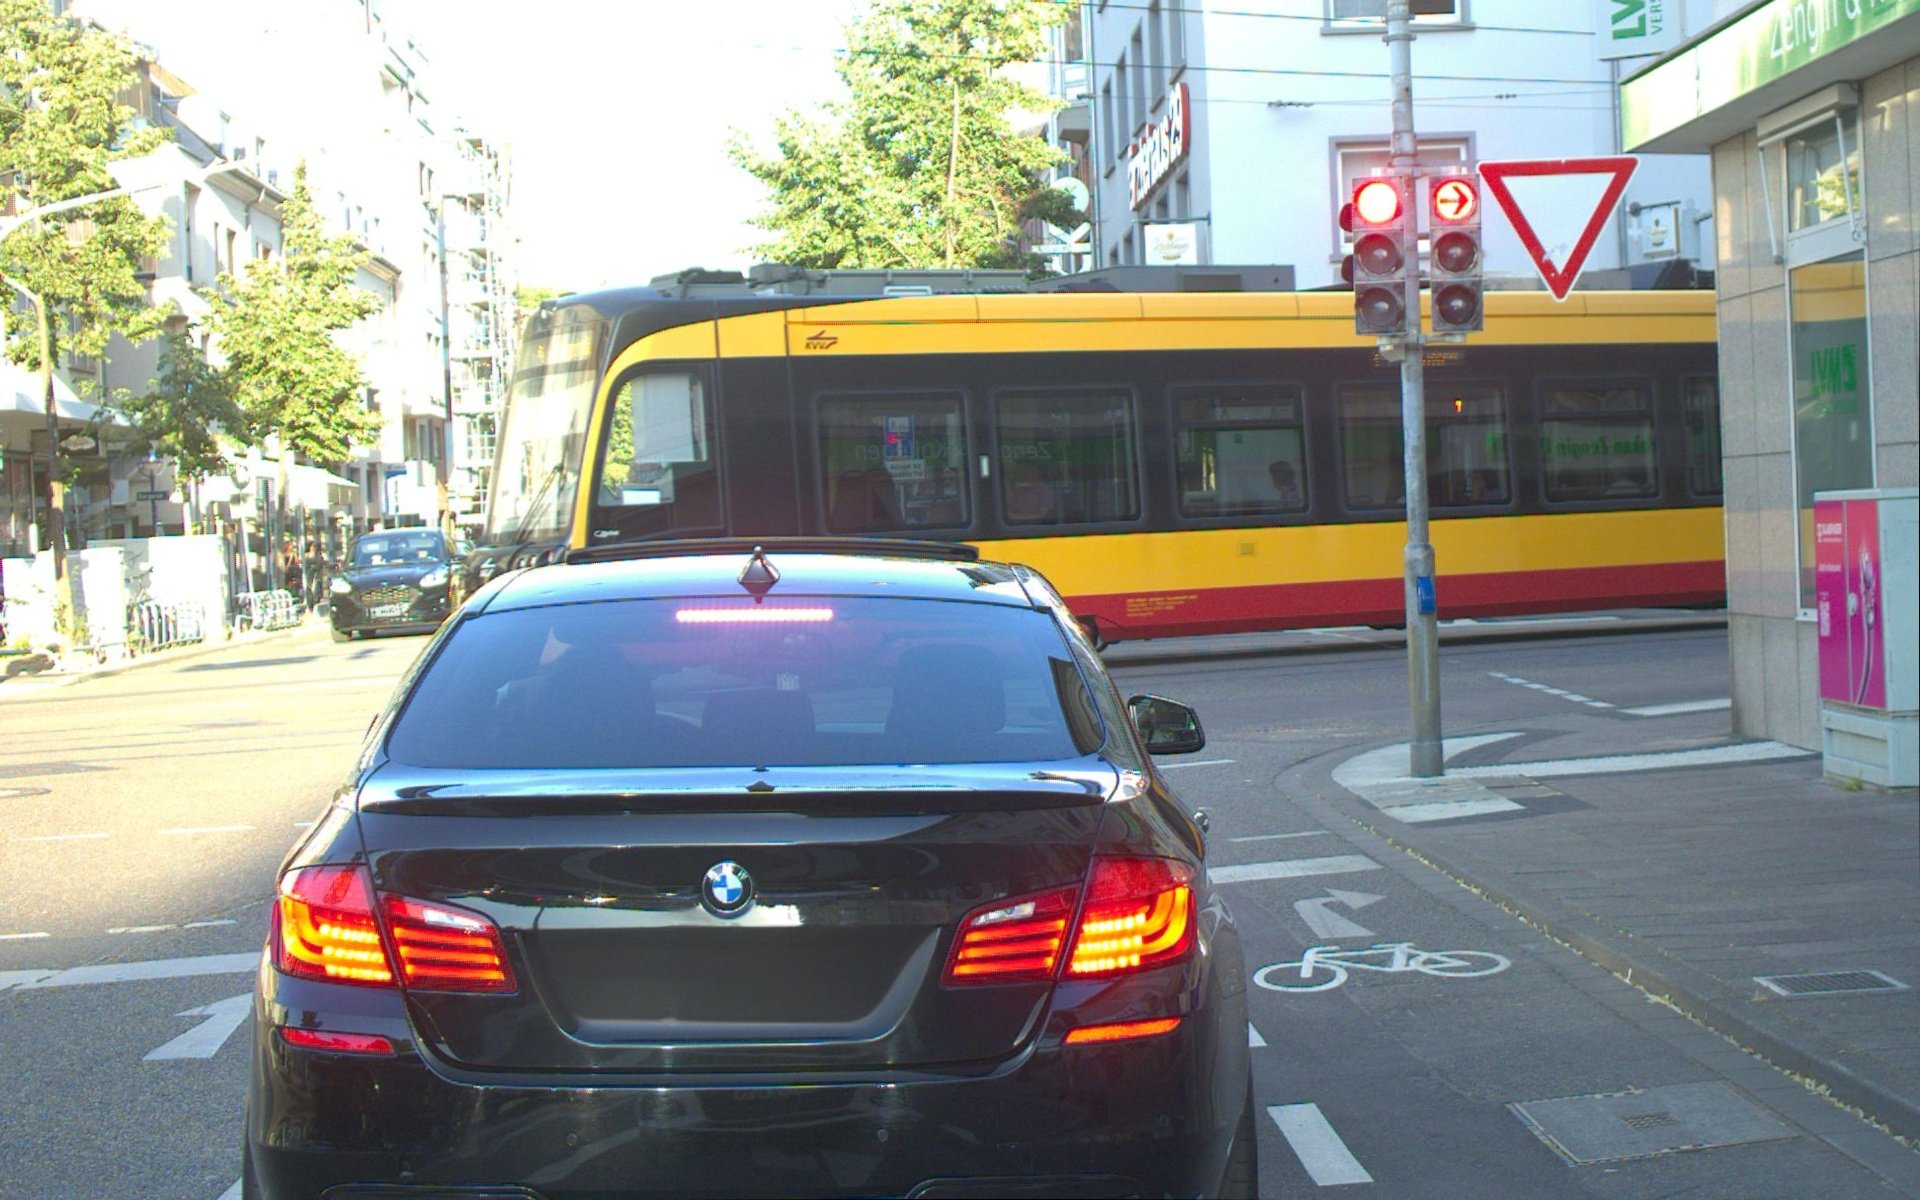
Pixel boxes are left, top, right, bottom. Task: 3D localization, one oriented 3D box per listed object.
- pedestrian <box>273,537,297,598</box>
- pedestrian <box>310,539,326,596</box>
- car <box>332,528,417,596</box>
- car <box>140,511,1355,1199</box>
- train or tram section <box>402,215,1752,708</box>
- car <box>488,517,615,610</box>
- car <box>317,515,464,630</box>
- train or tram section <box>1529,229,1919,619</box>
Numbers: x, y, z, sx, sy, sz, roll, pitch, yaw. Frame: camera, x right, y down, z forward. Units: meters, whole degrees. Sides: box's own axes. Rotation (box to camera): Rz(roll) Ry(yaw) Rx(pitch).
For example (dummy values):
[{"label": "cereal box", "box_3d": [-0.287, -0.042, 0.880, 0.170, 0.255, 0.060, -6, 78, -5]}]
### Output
[{"label": "pedestrian", "box_3d": [-15.971, -0.769, 81.345, 0.444, 1.411, 0.525, -2, 1, -4]}, {"label": "pedestrian", "box_3d": [-15.262, -0.778, 81.704, 0.306, 1.354, 0.285, -3, 1, -10]}, {"label": "car", "box_3d": [-13.429, -0.895, 79.008, 1.733, 1.456, 4.001, -2, 1, -7]}, {"label": "car", "box_3d": [-0.448, 0.583, 7.656, 1.903, 1.535, 4.450, 1, 1, -3]}, {"label": "train or tram section", "box_3d": [1.475, -1.400, 31.486, 12.616, 3.852, 3.081, -3, 2, -32]}, {"label": "car", "box_3d": [-6.879, -0.633, 57.660, 1.993, 1.437, 4.001, -2, 1, -7]}, {"label": "car", "box_3d": [-8.605, -0.441, 52.219, 1.993, 1.612, 4.001, -2, 1, -7]}, {"label": "train or tram section", "box_3d": [11.341, -1.976, 37.400, 10.424, 3.798, 3.082, -3, 2, -30]}]
